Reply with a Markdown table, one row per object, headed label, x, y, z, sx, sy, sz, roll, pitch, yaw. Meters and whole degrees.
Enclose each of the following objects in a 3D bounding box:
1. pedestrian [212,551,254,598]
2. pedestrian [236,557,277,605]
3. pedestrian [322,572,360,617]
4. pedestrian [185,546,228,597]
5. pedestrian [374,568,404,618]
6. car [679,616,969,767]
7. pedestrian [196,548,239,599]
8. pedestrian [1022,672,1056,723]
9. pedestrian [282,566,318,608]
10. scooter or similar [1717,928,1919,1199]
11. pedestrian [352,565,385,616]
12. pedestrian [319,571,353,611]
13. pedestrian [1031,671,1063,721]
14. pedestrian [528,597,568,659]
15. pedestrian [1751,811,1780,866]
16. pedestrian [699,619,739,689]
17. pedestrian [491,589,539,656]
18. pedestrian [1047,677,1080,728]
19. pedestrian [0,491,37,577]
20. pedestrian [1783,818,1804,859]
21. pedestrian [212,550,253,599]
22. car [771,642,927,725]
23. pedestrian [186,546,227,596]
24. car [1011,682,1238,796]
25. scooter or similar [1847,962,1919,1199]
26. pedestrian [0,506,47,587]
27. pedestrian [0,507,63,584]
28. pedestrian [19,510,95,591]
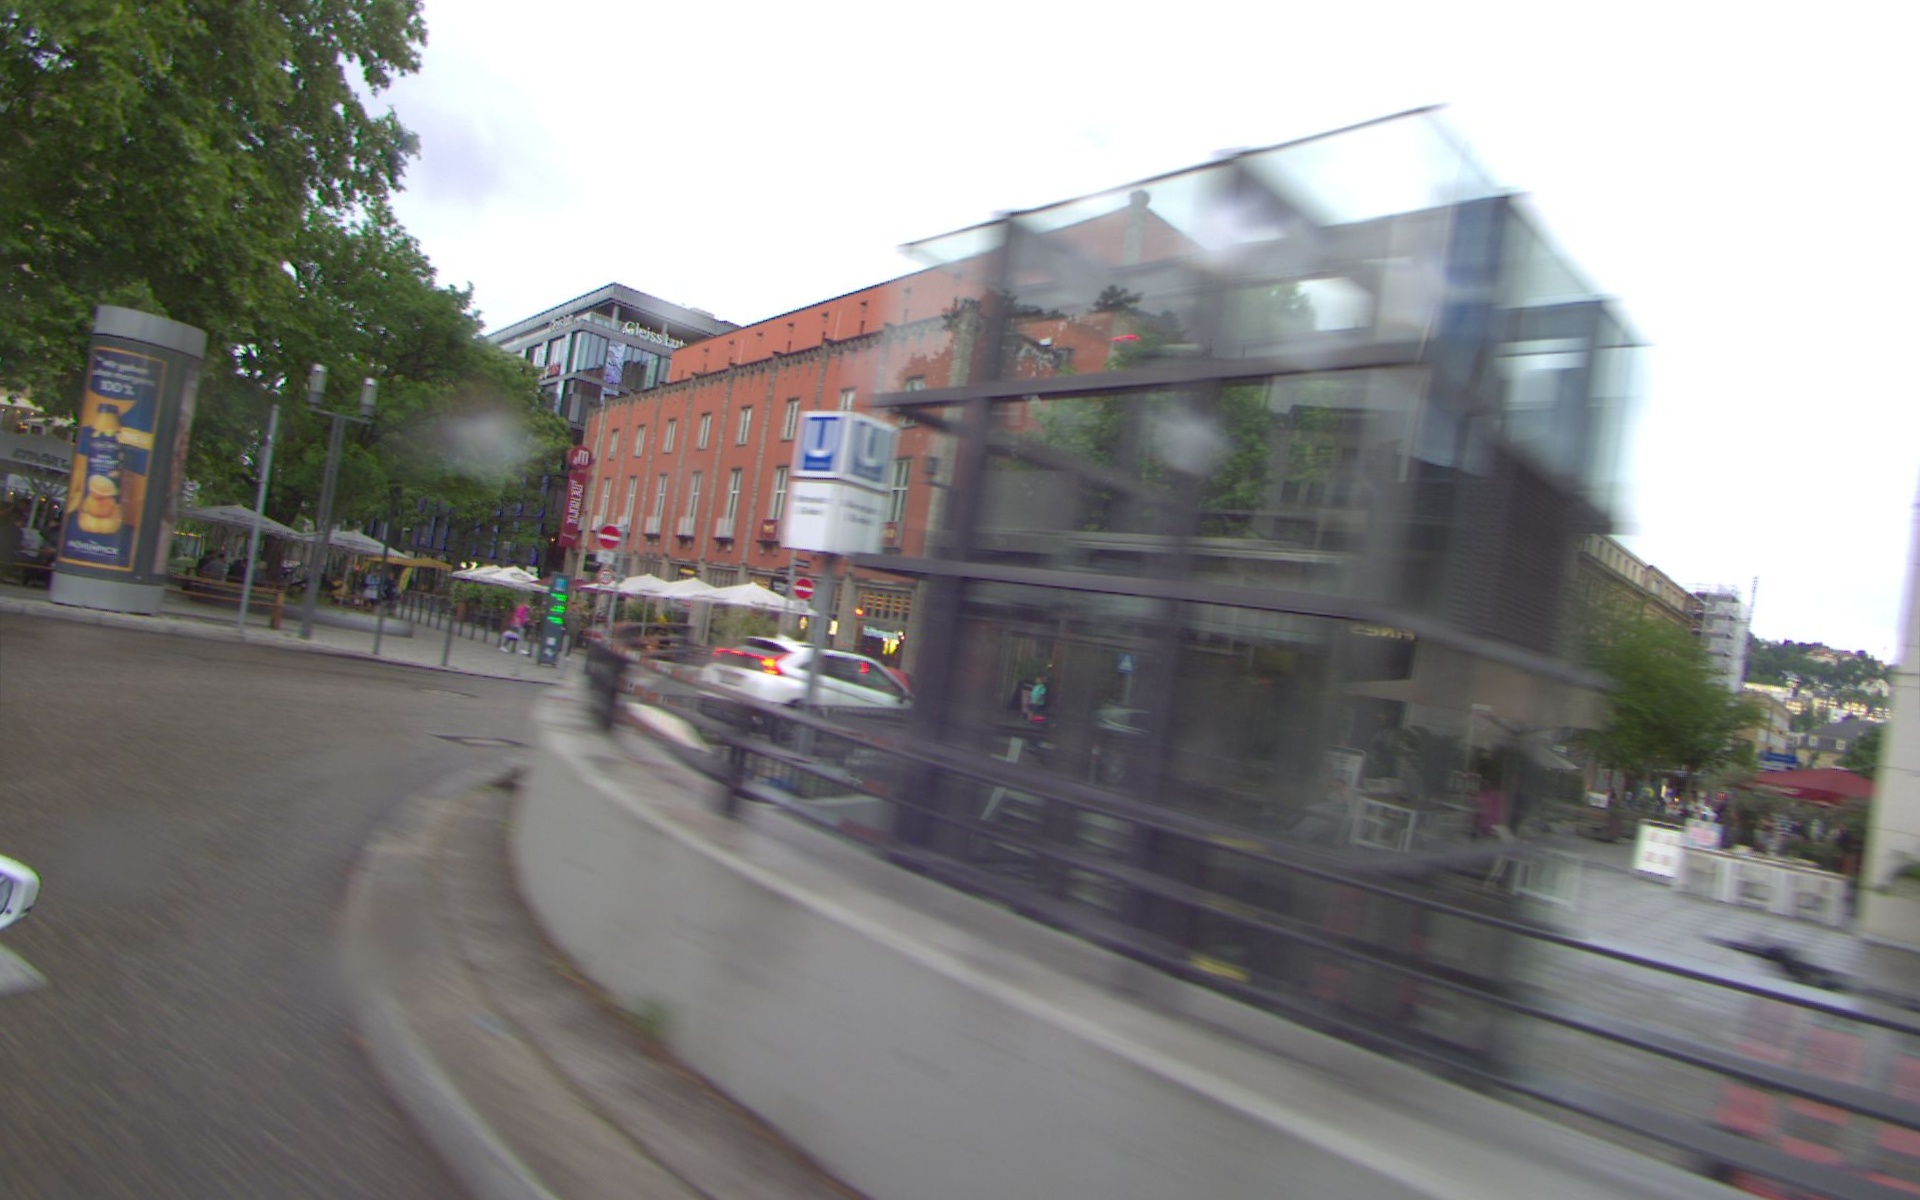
| label | x | y | z | sx | sy | sz | roll | pitch | yaw |
| --- | --- | --- | --- | --- | --- | --- | --- | --- | --- |
| pedestrian | -21.586 | -0.752 | 29.870 | 0.599 | 1.263 | 0.630 | 6 | -4 | 31 |
| pedestrian | -20.750 | -0.552 | 29.670 | 0.599 | 1.263 | 0.630 | 6 | -4 | 31 |
| pedestrian | -19.412 | -0.163 | 31.571 | 0.599 | 1.263 | 0.630 | 6 | -4 | 31 |
| pedestrian | -23.645 | -0.891 | 31.575 | 0.618 | 1.426 | 0.611 | 7 | -4 | 19 |
| pedestrian | -22.666 | -0.281 | 39.929 | 0.627 | 1.850 | 0.602 | 12 | -5 | -43 |
| car | -2.025 | 1.498 | 15.848 | 1.839 | 1.636 | 4.097 | 5 | -8 | 45 |
| pedestrian | -22.914 | -0.816 | 31.047 | 0.618 | 1.426 | 0.611 | 7 | -4 | 19 |
| pedestrian | 2.665 | 3.291 | 33.970 | 0.601 | 1.576 | 0.752 | 7 | -4 | 41 |
| pedestrian | -22.144 | -0.434 | 33.774 | 0.599 | 1.263 | 0.630 | 6 | -4 | 31 |
| scooter or similar | 3.219 | 2.005 | 3.788 | 0.359 | 1.283 | 1.116 | 8 | -3 | 31 |
| pedestrian | -23.179 | -0.378 | 39.419 | 0.744 | 1.850 | 0.602 | 12 | -5 | -43 |
| pedestrian | -21.708 | -0.314 | 34.999 | 0.599 | 1.263 | 0.630 | 6 | -4 | 31 |
| pedestrian | 3.050 | 3.361 | 35.255 | 0.601 | 1.614 | 0.752 | 7 | -4 | 41 |
| pedestrian | -12.821 | 0.876 | 31.336 | 0.735 | 1.799 | 0.591 | 7 | -3 | 37 |
| pedestrian | 27.155 | 8.030 | 33.904 | 0.556 | 1.721 | 0.565 | 9 | -2 | -44 |
| pedestrian | -7.130 | 1.582 | 29.756 | 0.621 | 1.954 | 0.781 | 10 | -3 | -34 |
| pedestrian | -13.095 | 0.667 | 29.621 | 0.860 | 1.799 | 0.693 | 7 | -3 | 37 |
| pedestrian | 3.574 | 3.552 | 34.827 | 0.601 | 1.614 | 0.752 | 7 | -4 | 41 |
| pedestrian | -20.057 | -1.389 | 21.121 | 0.718 | 1.721 | 0.613 | 8 | -2 | -33 |
| pedestrian | 37.793 | 10.794 | 45.619 | 0.556 | 1.721 | 0.565 | 9 | -2 | -44 |
| pedestrian | -23.348 | -0.814 | 32.306 | 0.618 | 1.426 | 0.611 | 7 | -4 | 19 |
| car | -2.723 | 2.096 | 25.172 | 3.463 | 1.430 | 1.618 | 9 | -4 | 6 |
| pedestrian | -24.120 | -0.926 | 32.199 | 0.618 | 1.426 | 0.611 | 7 | -4 | 19 |
| car | 3.535 | 2.960 | 21.048 | 4.724 | 1.709 | 1.982 | 12 | -4 | -41 |
| scooter or similar | 3.581 | 2.064 | 3.588 | 0.359 | 1.248 | 1.116 | 8 | -3 | 31 |
| pedestrian | -18.188 | -1.037 | 19.222 | 0.890 | 1.424 | 0.687 | 6 | -4 | 31 |
| pedestrian | -19.061 | -1.107 | 20.590 | 0.649 | 1.424 | 0.687 | 6 | -4 | 31 |
| pedestrian | -17.841 | -0.973 | 19.870 | 0.890 | 1.424 | 0.687 | 6 | -4 | 31 |
